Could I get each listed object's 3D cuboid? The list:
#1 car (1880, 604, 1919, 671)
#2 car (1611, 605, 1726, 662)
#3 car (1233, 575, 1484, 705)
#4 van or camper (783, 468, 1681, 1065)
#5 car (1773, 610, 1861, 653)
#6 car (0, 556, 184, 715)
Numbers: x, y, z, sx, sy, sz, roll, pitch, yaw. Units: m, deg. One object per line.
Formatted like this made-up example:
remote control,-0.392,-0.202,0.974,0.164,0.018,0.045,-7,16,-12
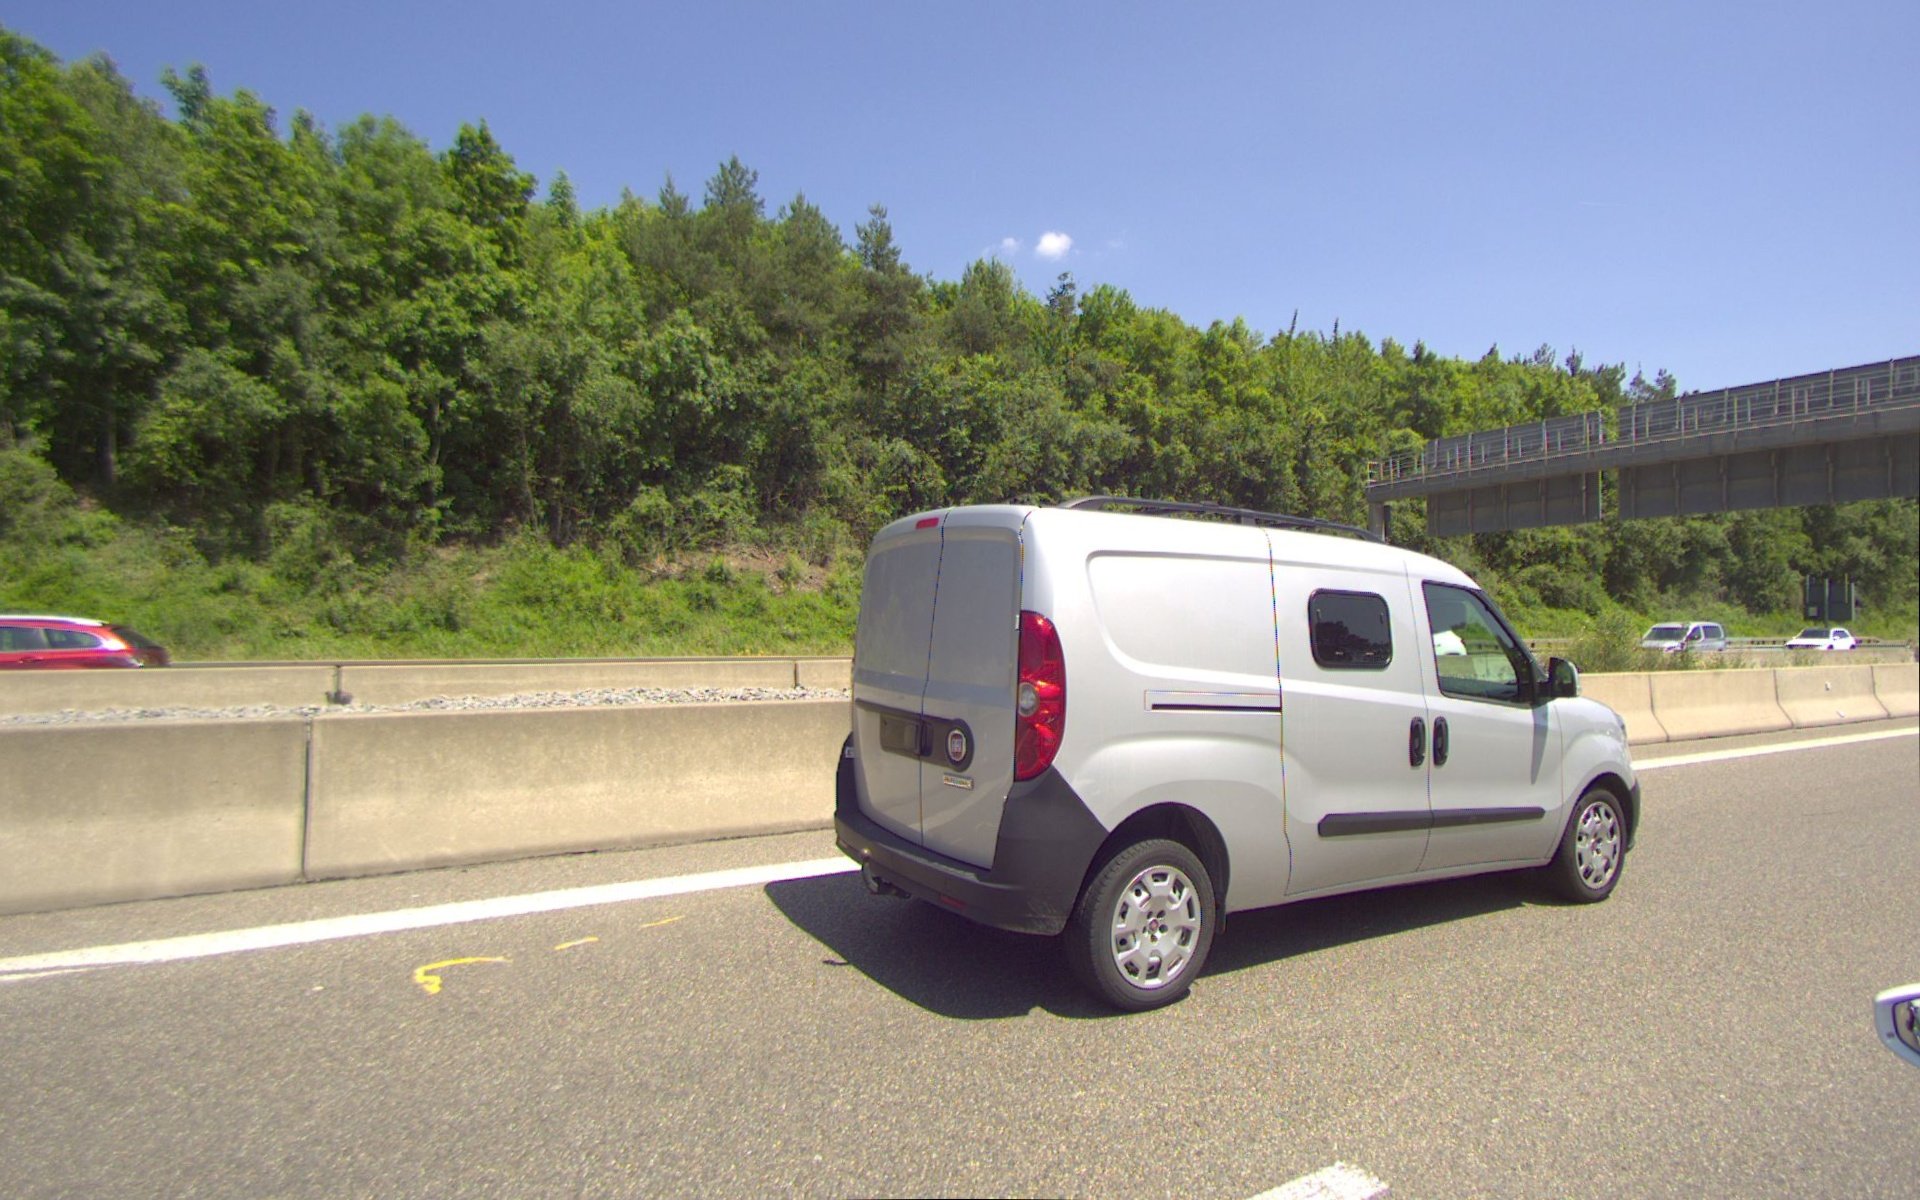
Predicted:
car,31.026,1.233,31.427,4.294,2.040,1.985,3,-1,-28
car,27.795,1.322,39.390,4.420,2.040,1.984,3,-1,-30
car,7.042,0.707,17.686,4.146,2.040,1.983,3,-1,-31
van or camper,1.558,0.559,5.164,4.508,1.905,1.844,1,0,-31
car,44.038,1.644,51.625,4.313,2.040,2.113,3,-1,-30
car,-13.278,0.430,13.459,4.232,2.040,1.984,3,-1,-30
